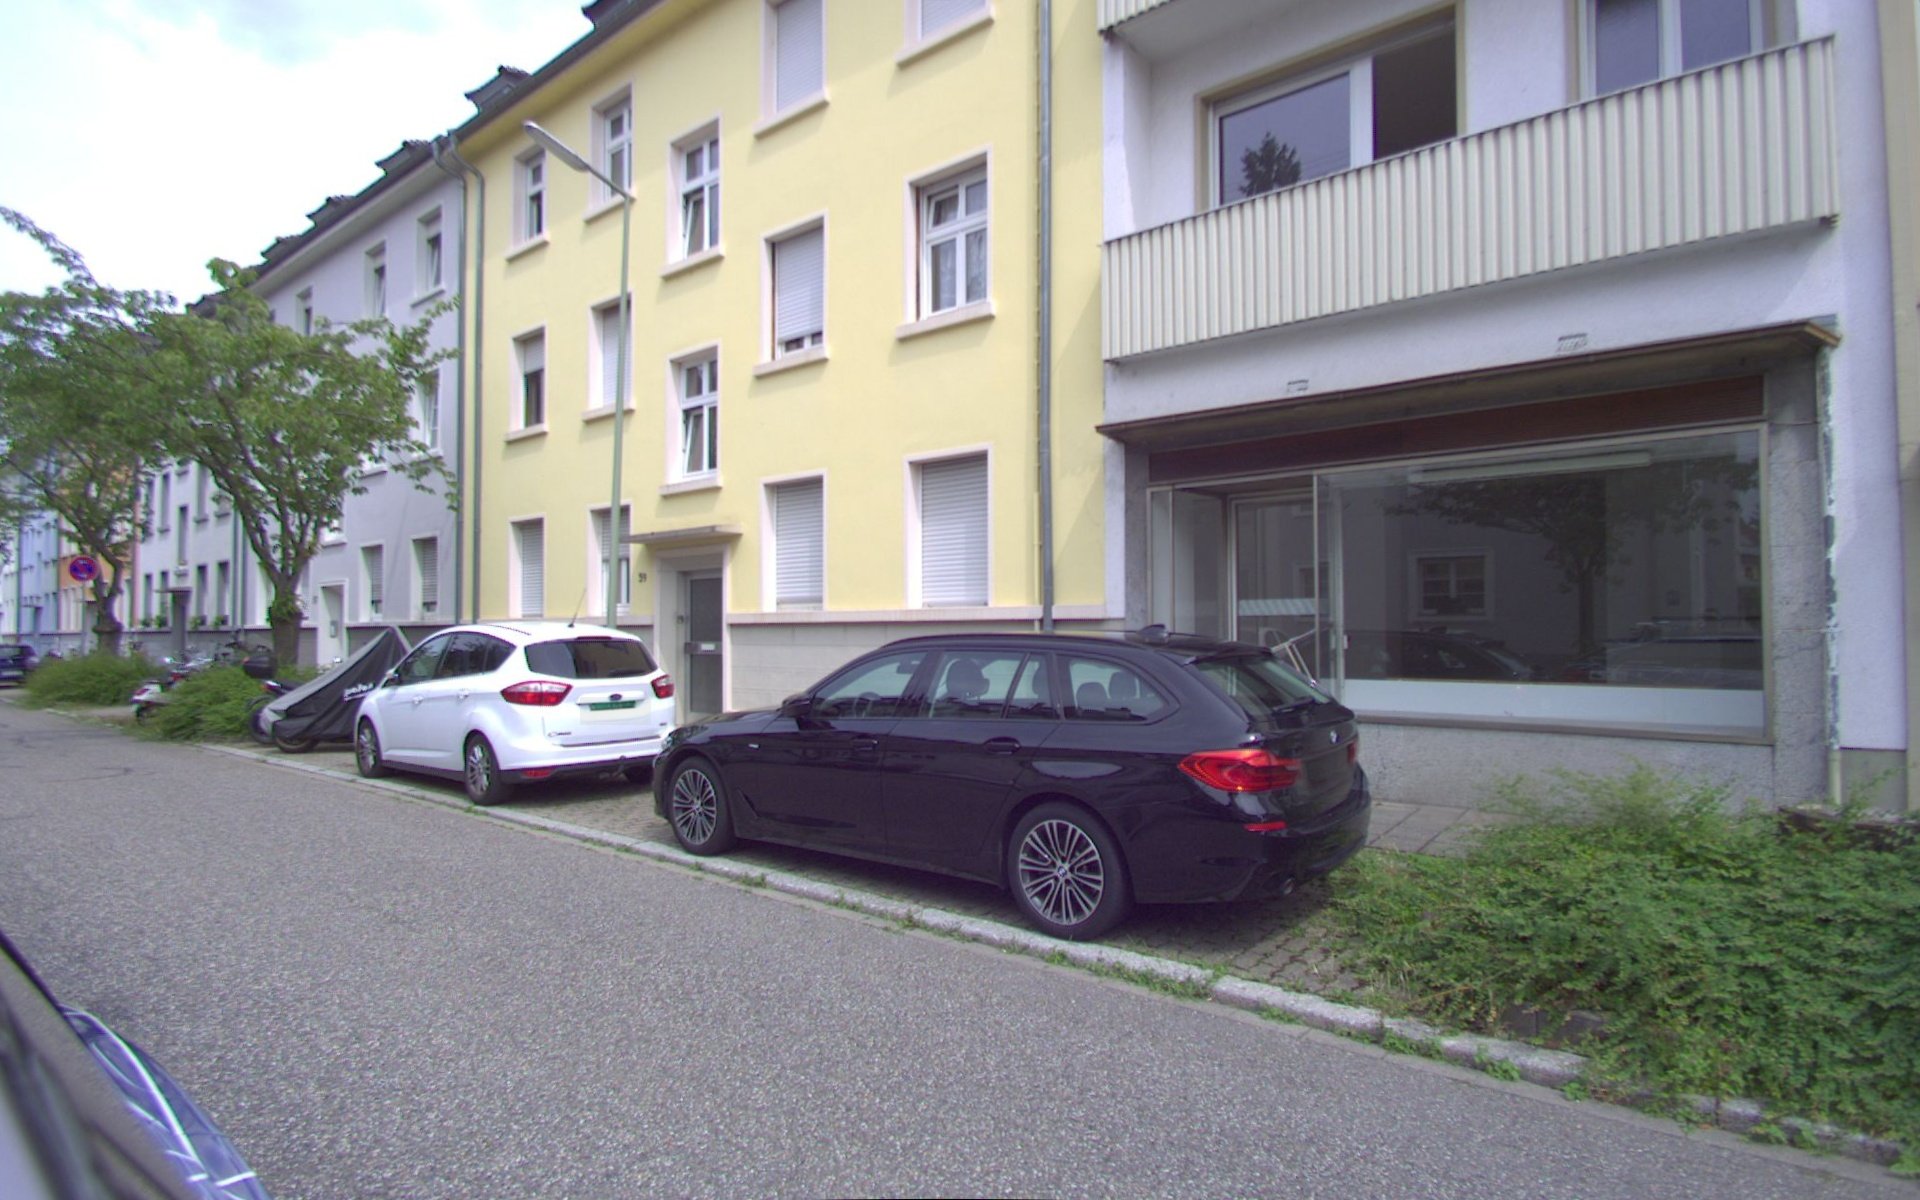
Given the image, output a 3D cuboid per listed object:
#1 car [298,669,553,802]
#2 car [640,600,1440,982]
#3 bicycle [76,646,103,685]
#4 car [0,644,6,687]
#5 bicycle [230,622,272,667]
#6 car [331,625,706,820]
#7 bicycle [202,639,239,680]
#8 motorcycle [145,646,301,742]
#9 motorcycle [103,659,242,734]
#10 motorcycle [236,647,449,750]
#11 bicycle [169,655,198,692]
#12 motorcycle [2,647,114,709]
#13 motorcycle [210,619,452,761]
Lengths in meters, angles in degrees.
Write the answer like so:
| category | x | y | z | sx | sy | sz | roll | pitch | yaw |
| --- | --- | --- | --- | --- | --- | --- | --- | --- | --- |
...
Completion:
| category | x | y | z | sx | sy | sz | roll | pitch | yaw |
| --- | --- | --- | --- | --- | --- | --- | --- | --- | --- |
| car | -8.029 | 1.891 | 15.071 | 4.115 | 1.495 | 1.819 | -2 | 0 | 38 |
| car | 0.139 | 0.803 | 6.246 | 4.808 | 1.503 | 1.772 | -1 | -1 | 40 |
| bicycle | -30.786 | 2.314 | 35.782 | 1.811 | 1.344 | 0.425 | -2 | -4 | 41 |
| car | -35.612 | 2.350 | 36.016 | 4.088 | 1.495 | 1.819 | -2 | -1 | 38 |
| bicycle | -16.483 | 1.038 | 23.517 | 1.433 | 1.014 | 0.416 | -2 | -4 | 41 |
| car | -4.572 | 1.065 | 10.200 | 4.252 | 1.568 | 1.739 | -2 | -3 | 40 |
| bicycle | -18.780 | 1.506 | 25.685 | 1.433 | 1.014 | 0.416 | -2 | -4 | 41 |
| motorcycle | -12.385 | 1.552 | 17.118 | 0.591 | 1.493 | 2.229 | 0 | -3 | 13 |
| motorcycle | -13.537 | 1.630 | 17.470 | 0.591 | 1.201 | 1.904 | 0 | -3 | 13 |
| motorcycle | -8.414 | 1.337 | 13.940 | 2.414 | 1.321 | 0.645 | 3 | -4 | -27 |
| bicycle | -21.387 | 2.023 | 27.862 | 1.433 | 0.974 | 0.306 | -2 | -4 | 41 |
| motorcycle | -21.727 | 1.862 | 24.440 | 0.782 | 1.418 | 2.016 | 1 | -3 | 2 |
| motorcycle | -7.888 | 1.110 | 12.798 | 2.437 | 1.689 | 0.939 | -1 | -2 | -3 |
